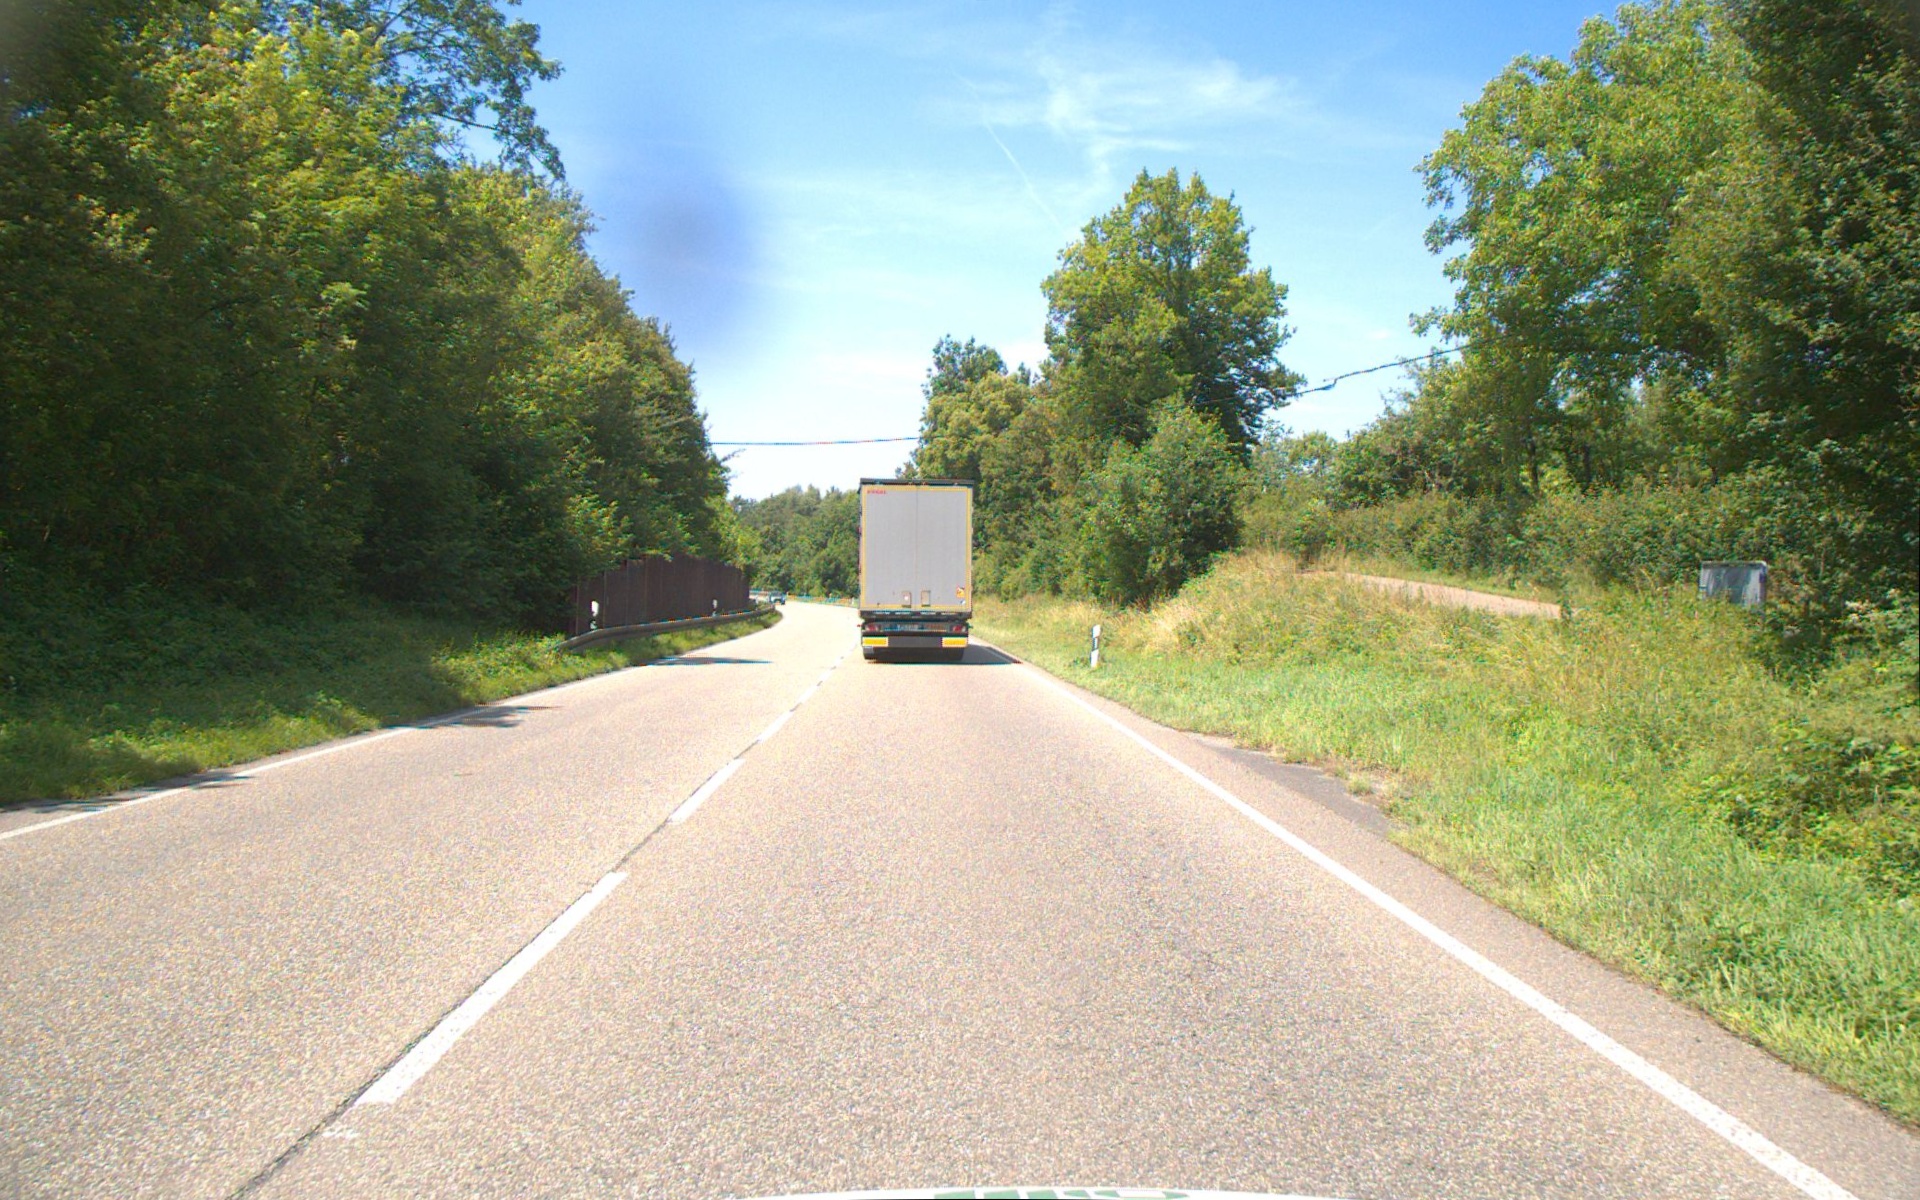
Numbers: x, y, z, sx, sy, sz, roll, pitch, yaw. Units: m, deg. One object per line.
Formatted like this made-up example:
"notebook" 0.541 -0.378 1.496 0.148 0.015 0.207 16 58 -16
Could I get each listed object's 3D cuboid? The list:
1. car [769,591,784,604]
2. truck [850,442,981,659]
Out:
"car" -22.233 -0.282 200.463 1.588 1.517 3.608 0 0 -10
"truck" -0.928 -1.037 39.203 2.764 4.684 6.665 1 -1 1
